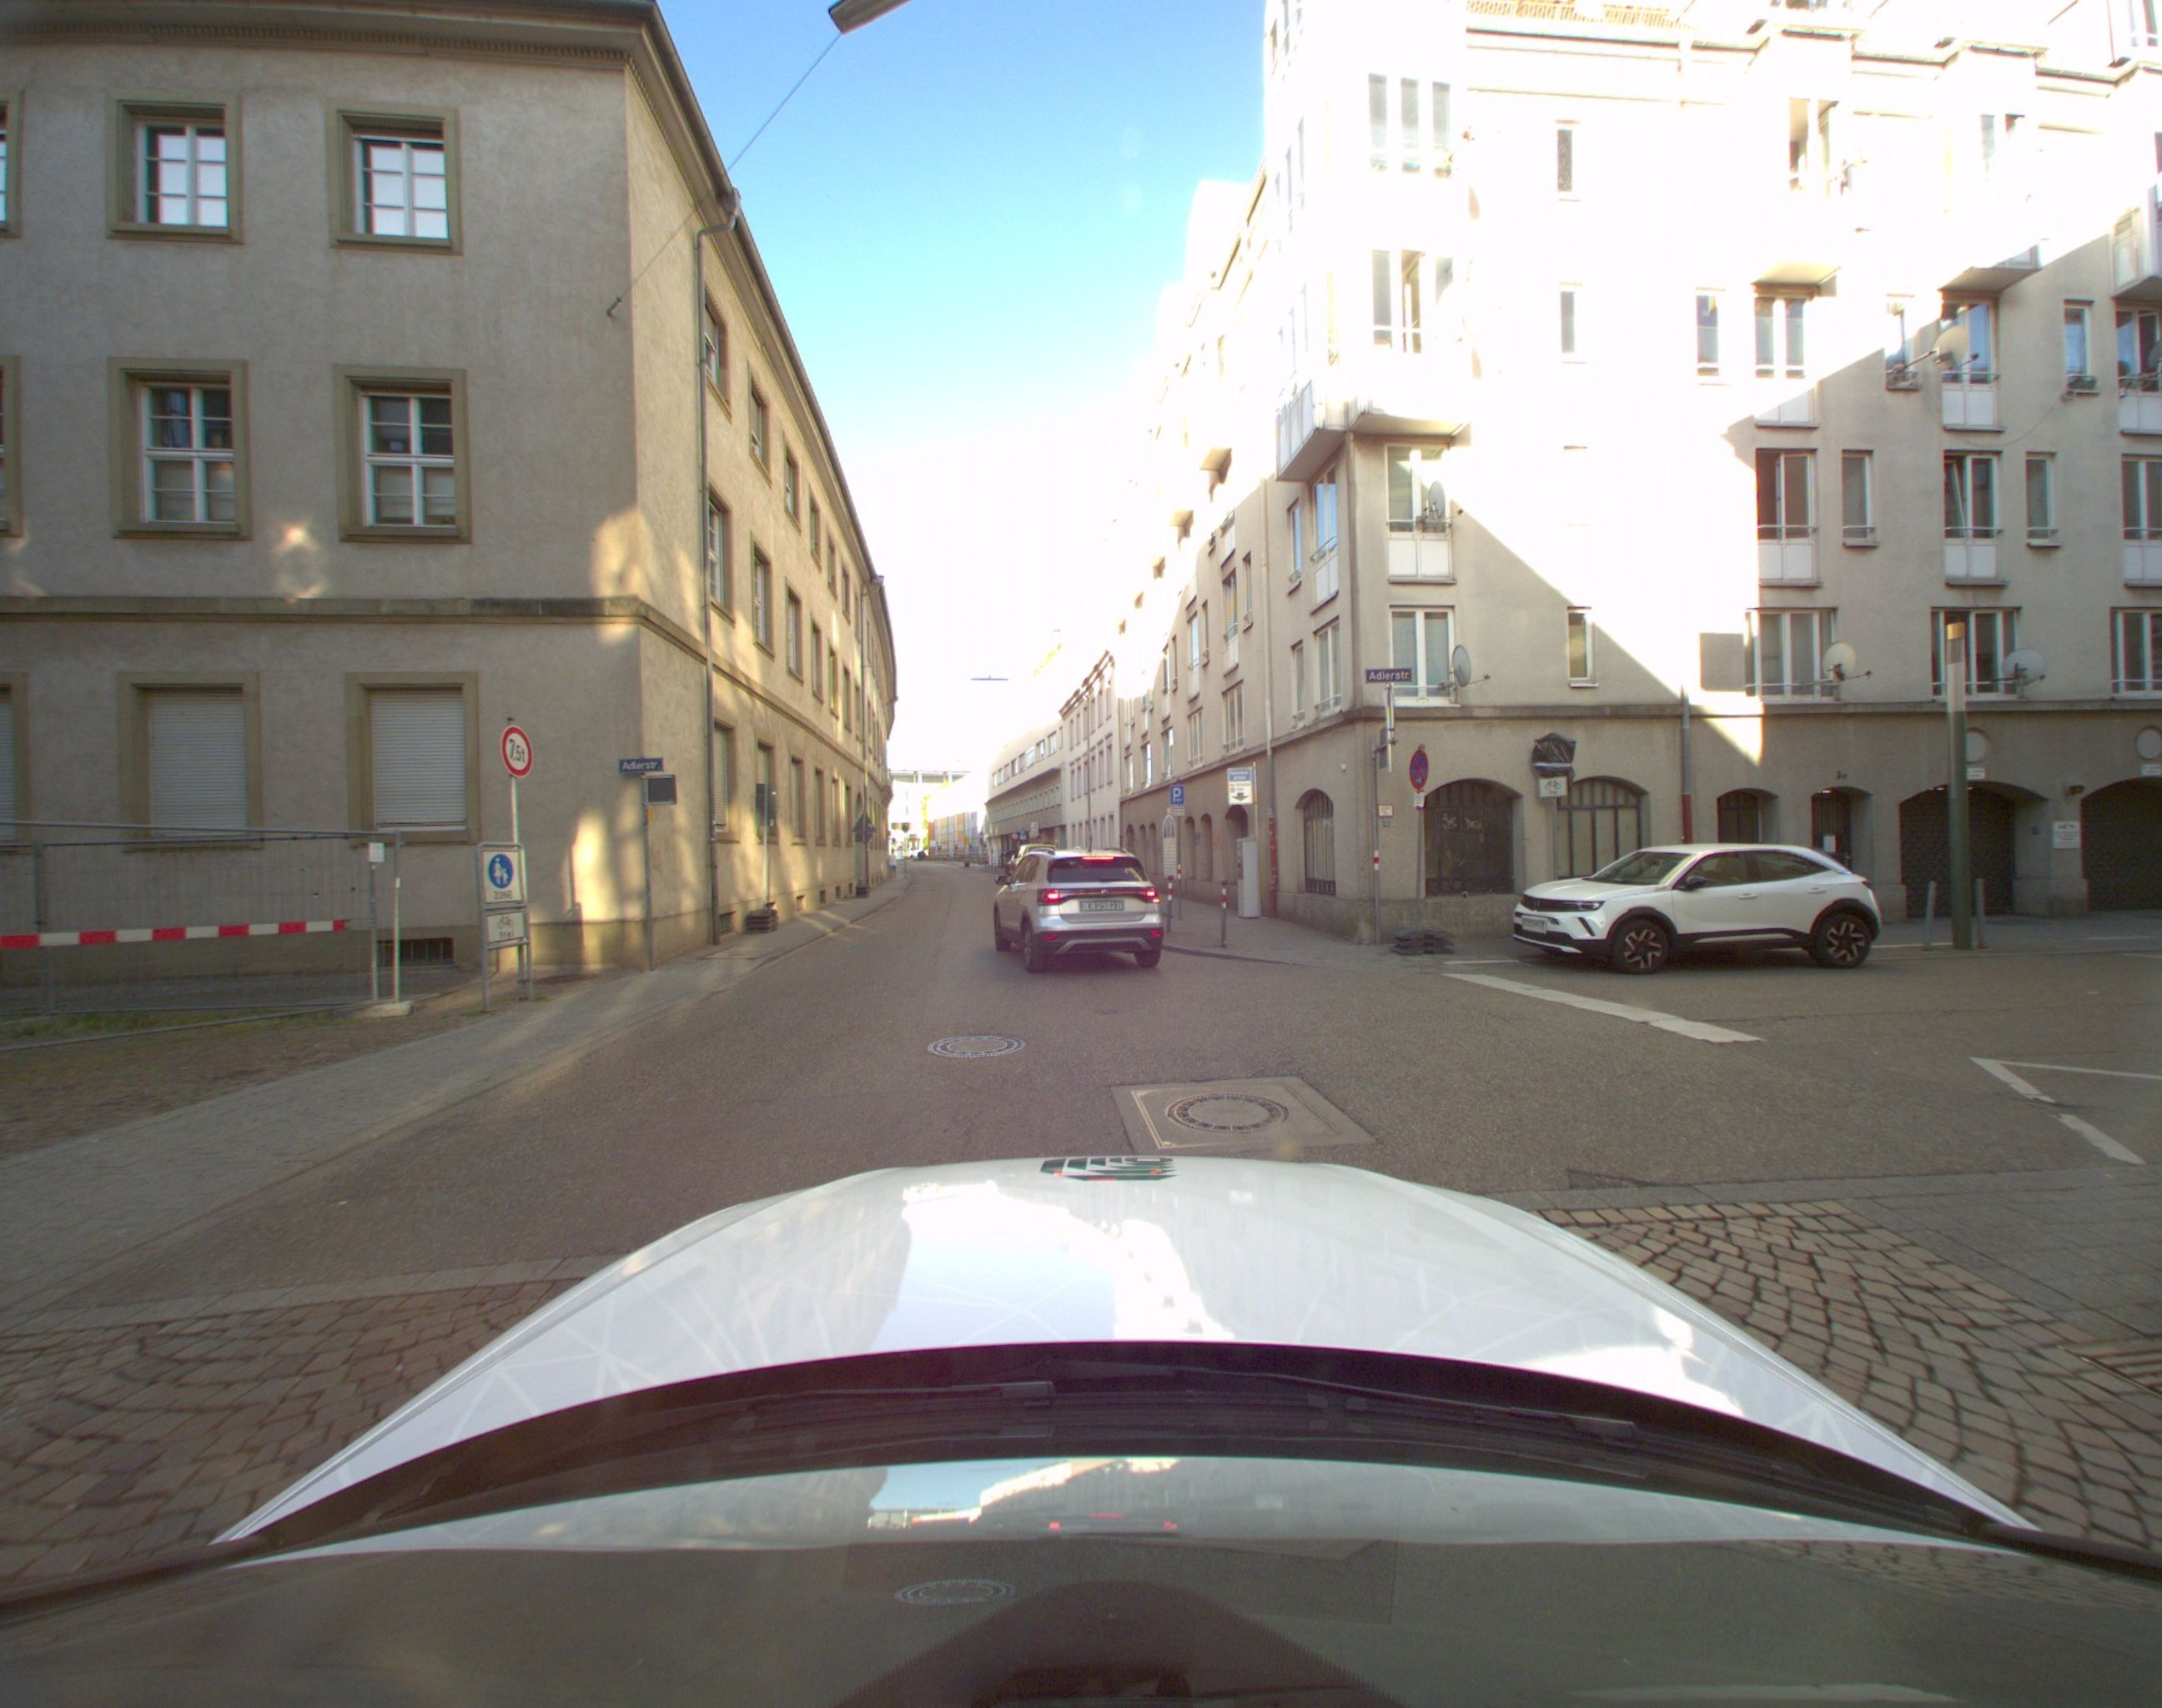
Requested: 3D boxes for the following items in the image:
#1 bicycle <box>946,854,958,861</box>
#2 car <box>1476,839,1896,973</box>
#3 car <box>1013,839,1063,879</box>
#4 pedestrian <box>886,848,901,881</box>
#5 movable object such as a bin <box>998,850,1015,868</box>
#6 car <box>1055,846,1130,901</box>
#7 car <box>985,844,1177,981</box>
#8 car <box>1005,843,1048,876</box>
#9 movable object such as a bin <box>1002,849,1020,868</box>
[{"bbox_3d":[-20.948,0.559,132.211,1.782,1.000,0.544,-1,0,-13],"label":"bicycle"},{"bbox_3d":[7.771,0.610,10.756,4.204,1.553,1.901,-1,0,-2],"label":"car"},{"bbox_3d":[-2.356,0.254,43.595,2.054,2.013,4.158,-1,0,-12],"label":"car"},{"bbox_3d":[-9.853,0.553,42.844,0.767,1.724,0.684,-1,0,-13],"label":"pedestrian"},{"bbox_3d":[-6.402,0.406,69.515,1.133,1.479,1.730,-1,0,-15],"label":"movable object such as a bin"},{"bbox_3d":[0.296,0.580,27.137,1.966,1.692,4.091,0,0,-7],"label":"car"},{"bbox_3d":[-0.201,0.681,11.764,1.839,1.562,3.981,-2,0,-14],"label":"car"},{"bbox_3d":[-3.373,0.314,49.378,2.054,1.873,4.084,-1,0,-12],"label":"car"},{"bbox_3d":[-5.839,0.381,67.814,1.133,1.558,1.730,-1,0,-15],"label":"movable object such as a bin"}]
